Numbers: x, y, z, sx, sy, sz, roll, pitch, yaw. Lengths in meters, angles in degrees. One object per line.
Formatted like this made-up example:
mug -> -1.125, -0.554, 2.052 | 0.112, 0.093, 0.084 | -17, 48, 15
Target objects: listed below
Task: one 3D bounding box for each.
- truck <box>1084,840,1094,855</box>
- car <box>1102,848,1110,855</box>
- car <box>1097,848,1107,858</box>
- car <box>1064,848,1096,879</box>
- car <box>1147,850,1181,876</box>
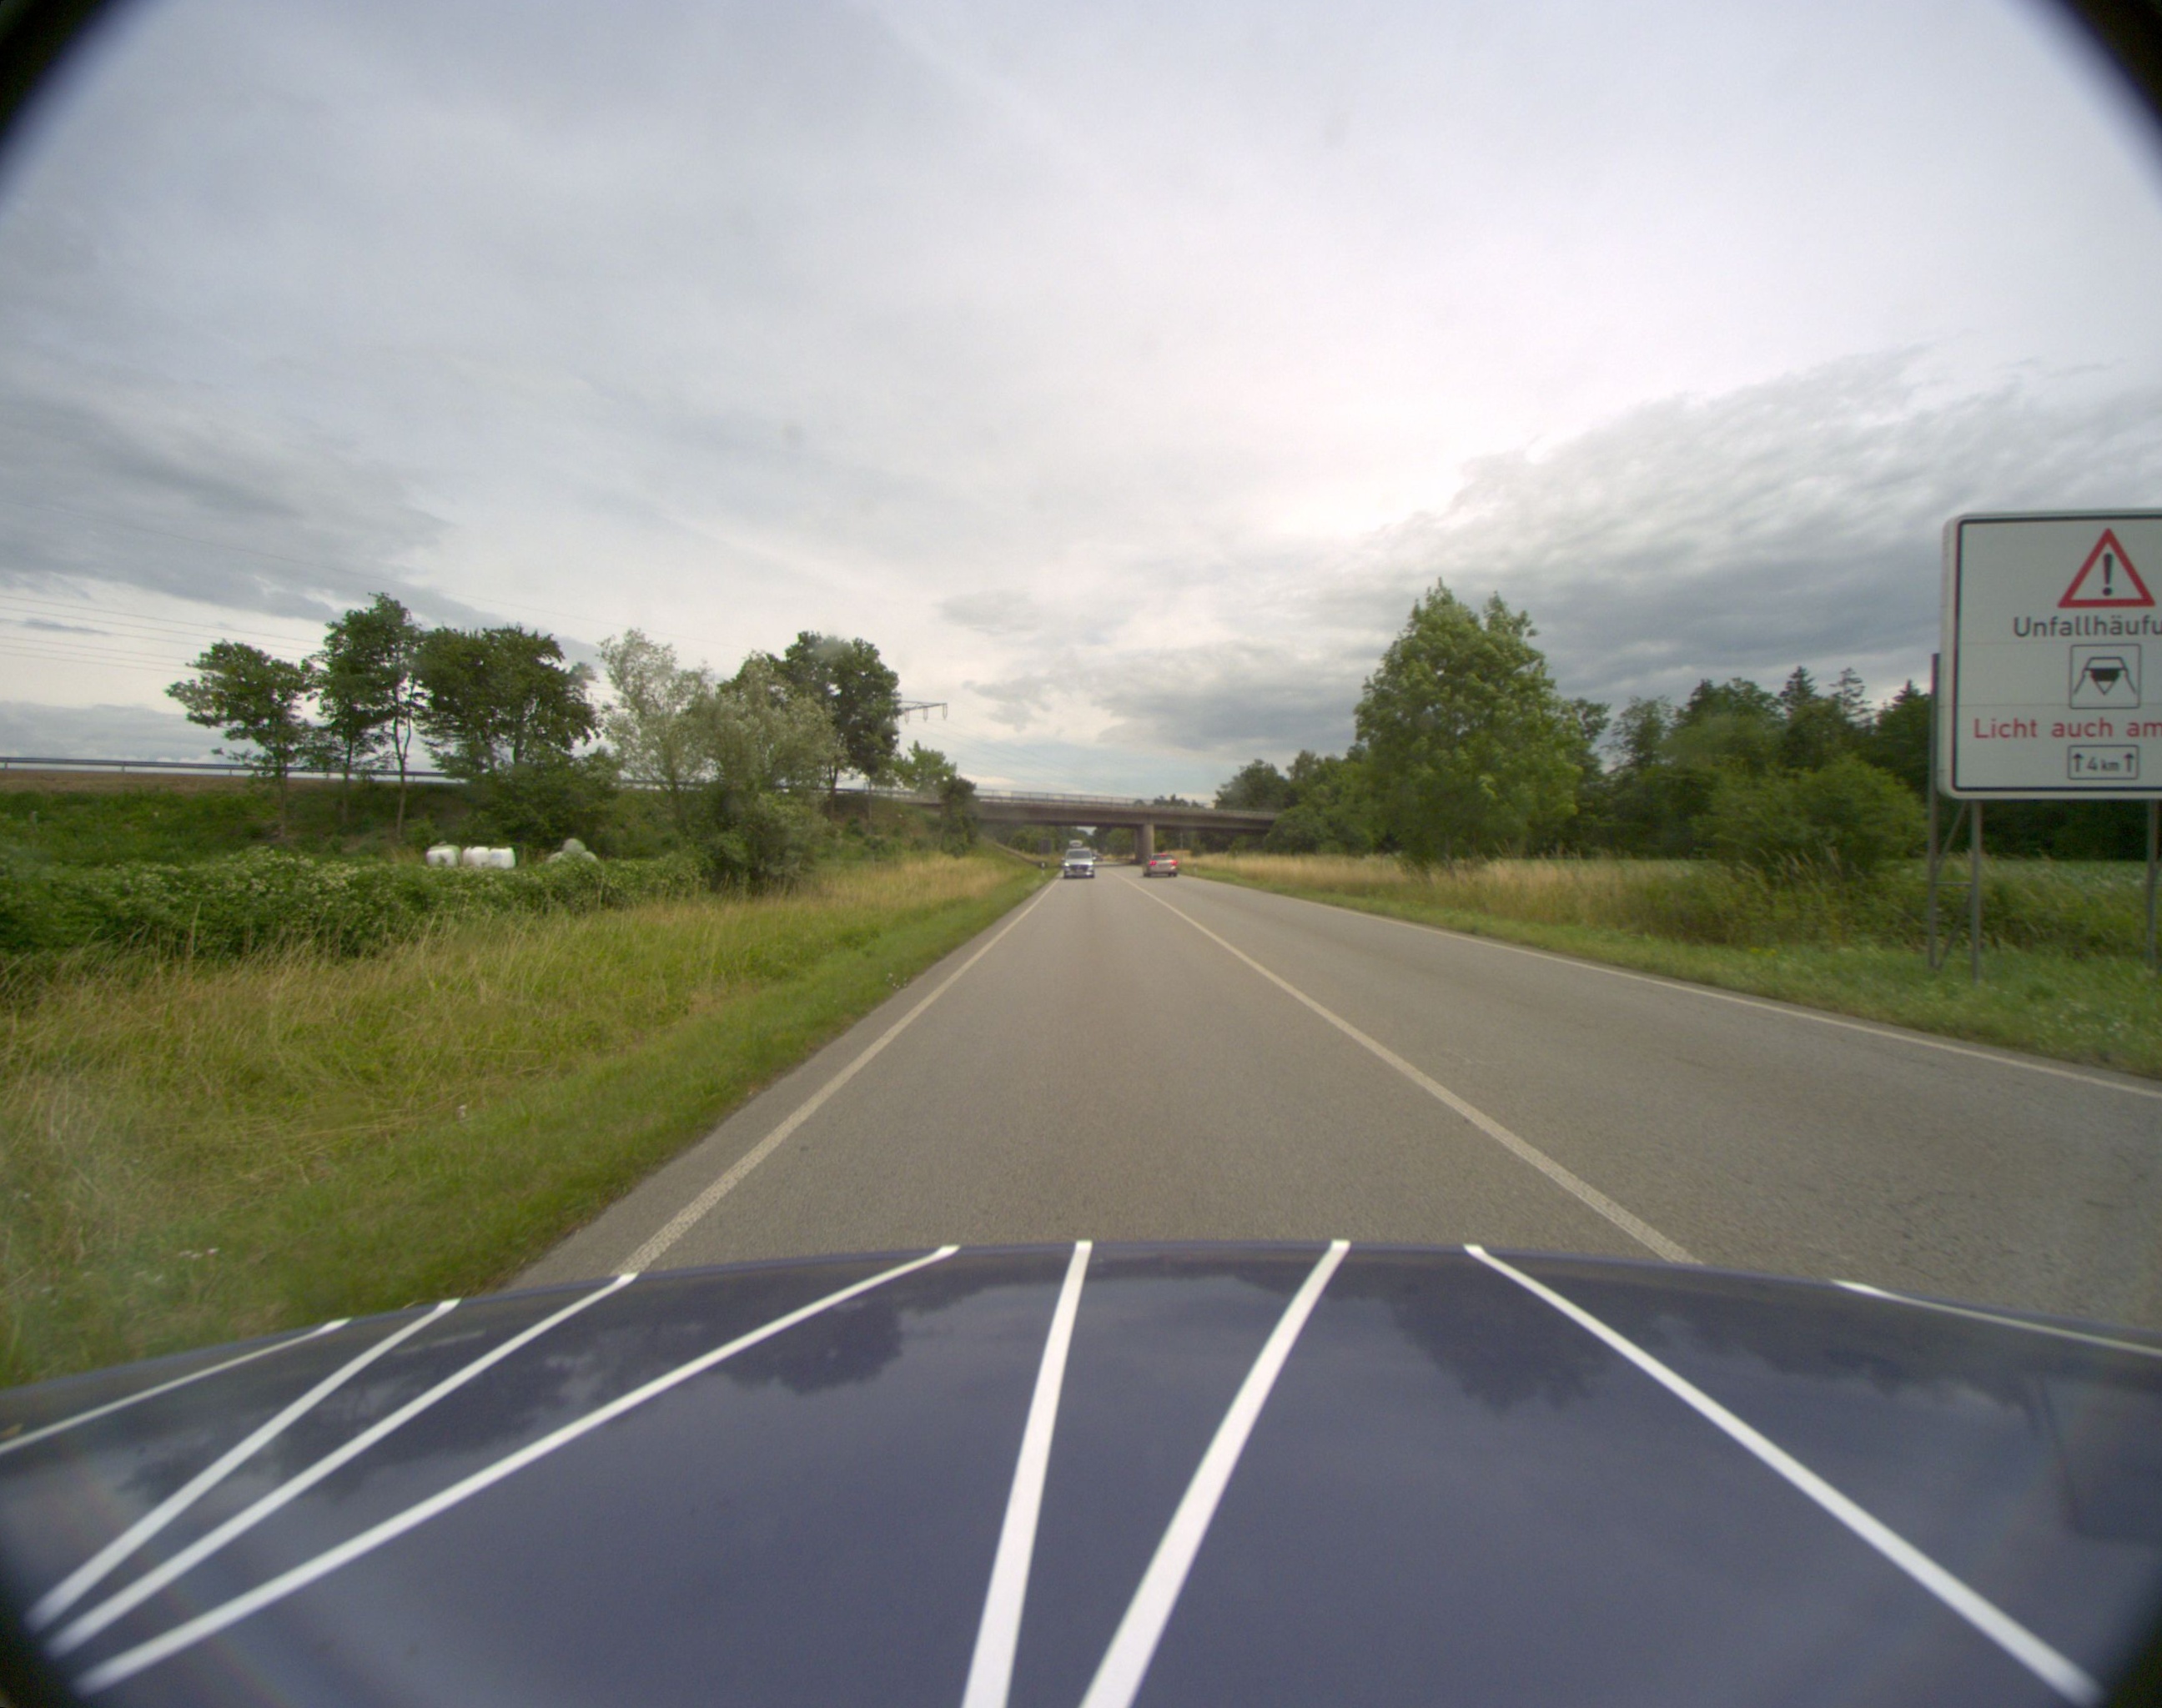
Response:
truck -> 2.848, -2.230, 263.173 | 3.277, 5.094, 8.354 | -2, 1, 1
car -> 5.527, -0.566, 167.992 | 1.800, 1.653, 3.999 | -2, 1, 1
car -> 3.999, -0.206, 144.263 | 1.800, 1.653, 3.999 | -2, 1, 1
car -> -0.046, 0.566, 48.238 | 1.923, 1.823, 3.999 | -2, 1, 1
car -> 5.066, 0.533, 46.784 | 1.771, 1.455, 4.000 | -2, 1, 2
